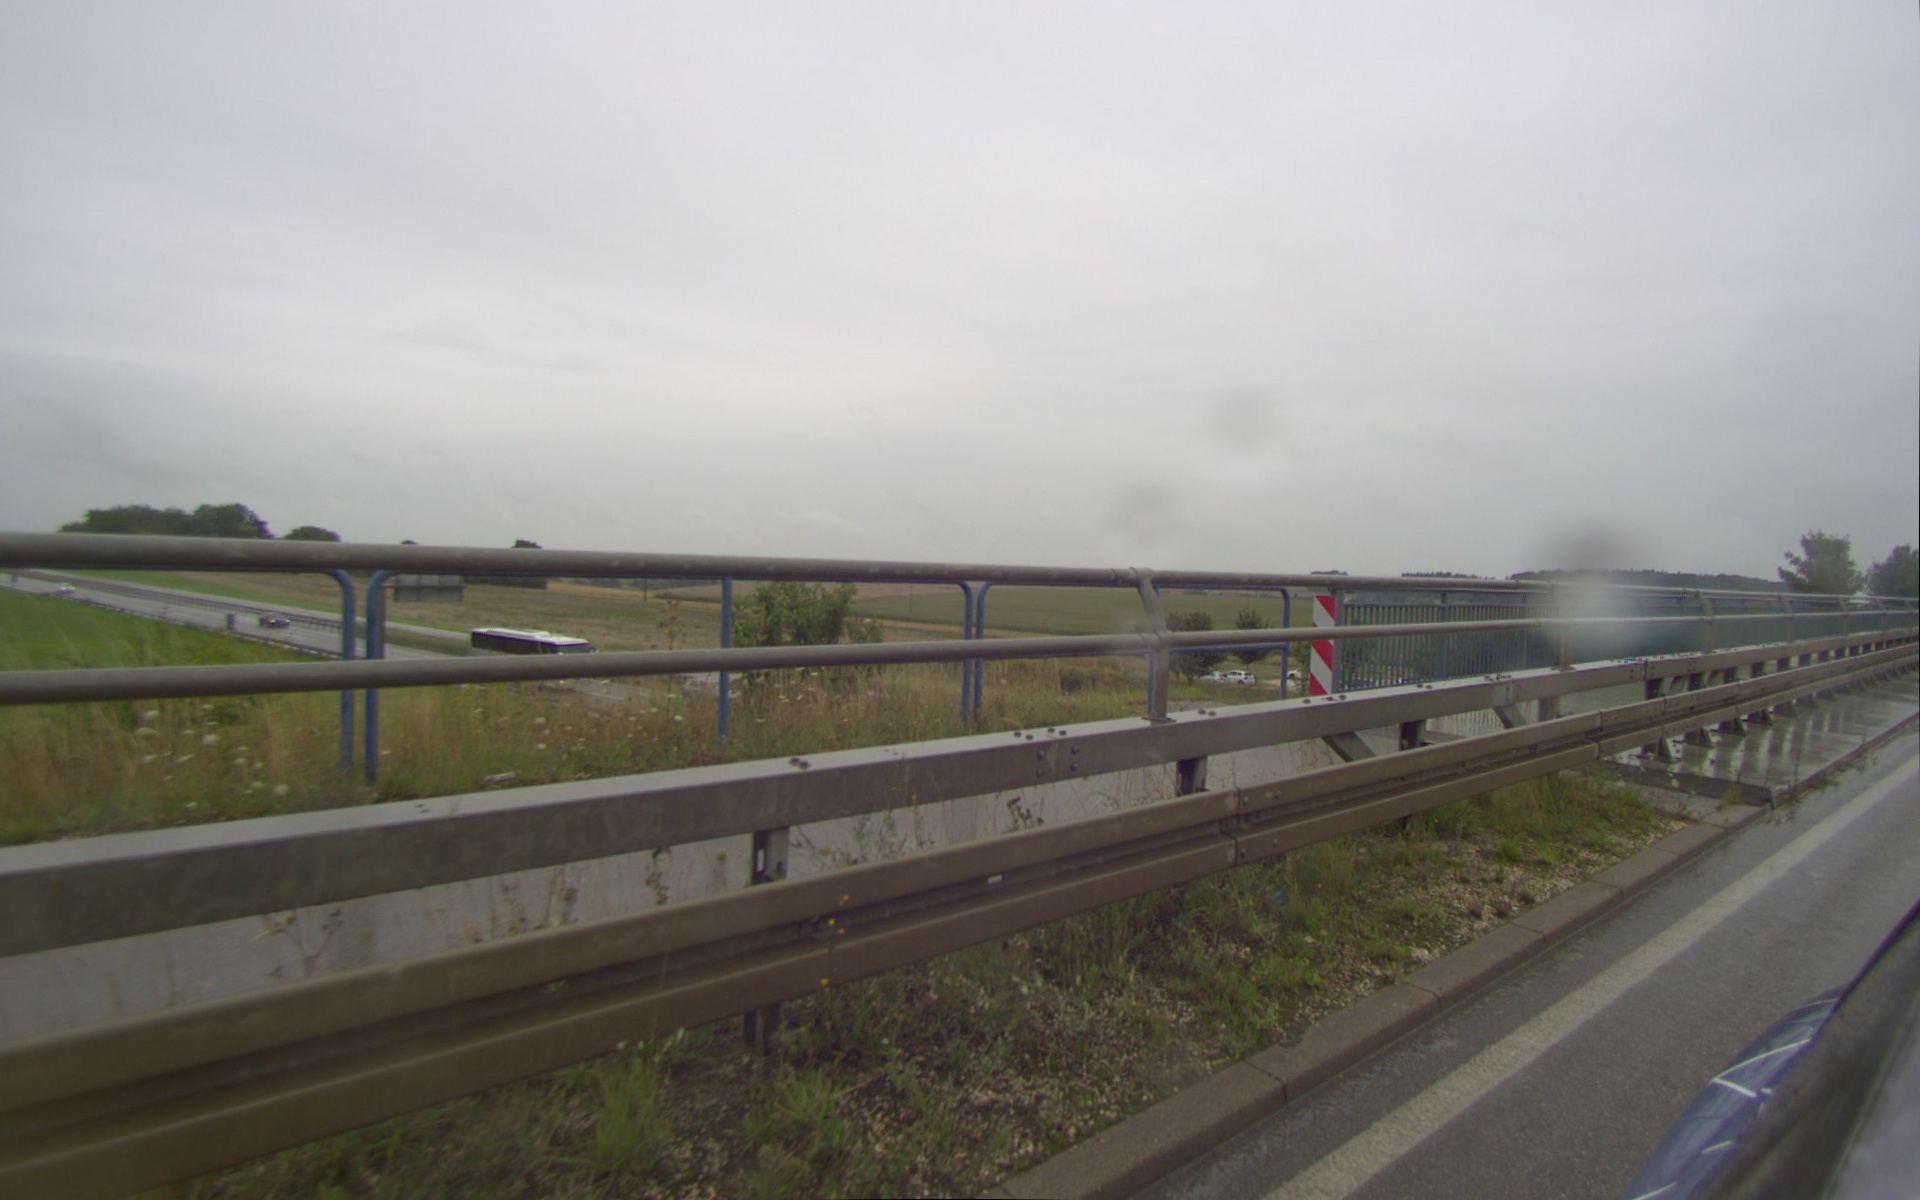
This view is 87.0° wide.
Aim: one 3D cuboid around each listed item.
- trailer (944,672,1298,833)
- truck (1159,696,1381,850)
[{"bbox_3d":[5.719,5.516,39.487,13.955,4.017,2.841,3,1,39],"label":"trailer"},{"bbox_3d":[10.744,5.808,35.439,6.787,4.017,2.842,3,1,39],"label":"truck"}]
